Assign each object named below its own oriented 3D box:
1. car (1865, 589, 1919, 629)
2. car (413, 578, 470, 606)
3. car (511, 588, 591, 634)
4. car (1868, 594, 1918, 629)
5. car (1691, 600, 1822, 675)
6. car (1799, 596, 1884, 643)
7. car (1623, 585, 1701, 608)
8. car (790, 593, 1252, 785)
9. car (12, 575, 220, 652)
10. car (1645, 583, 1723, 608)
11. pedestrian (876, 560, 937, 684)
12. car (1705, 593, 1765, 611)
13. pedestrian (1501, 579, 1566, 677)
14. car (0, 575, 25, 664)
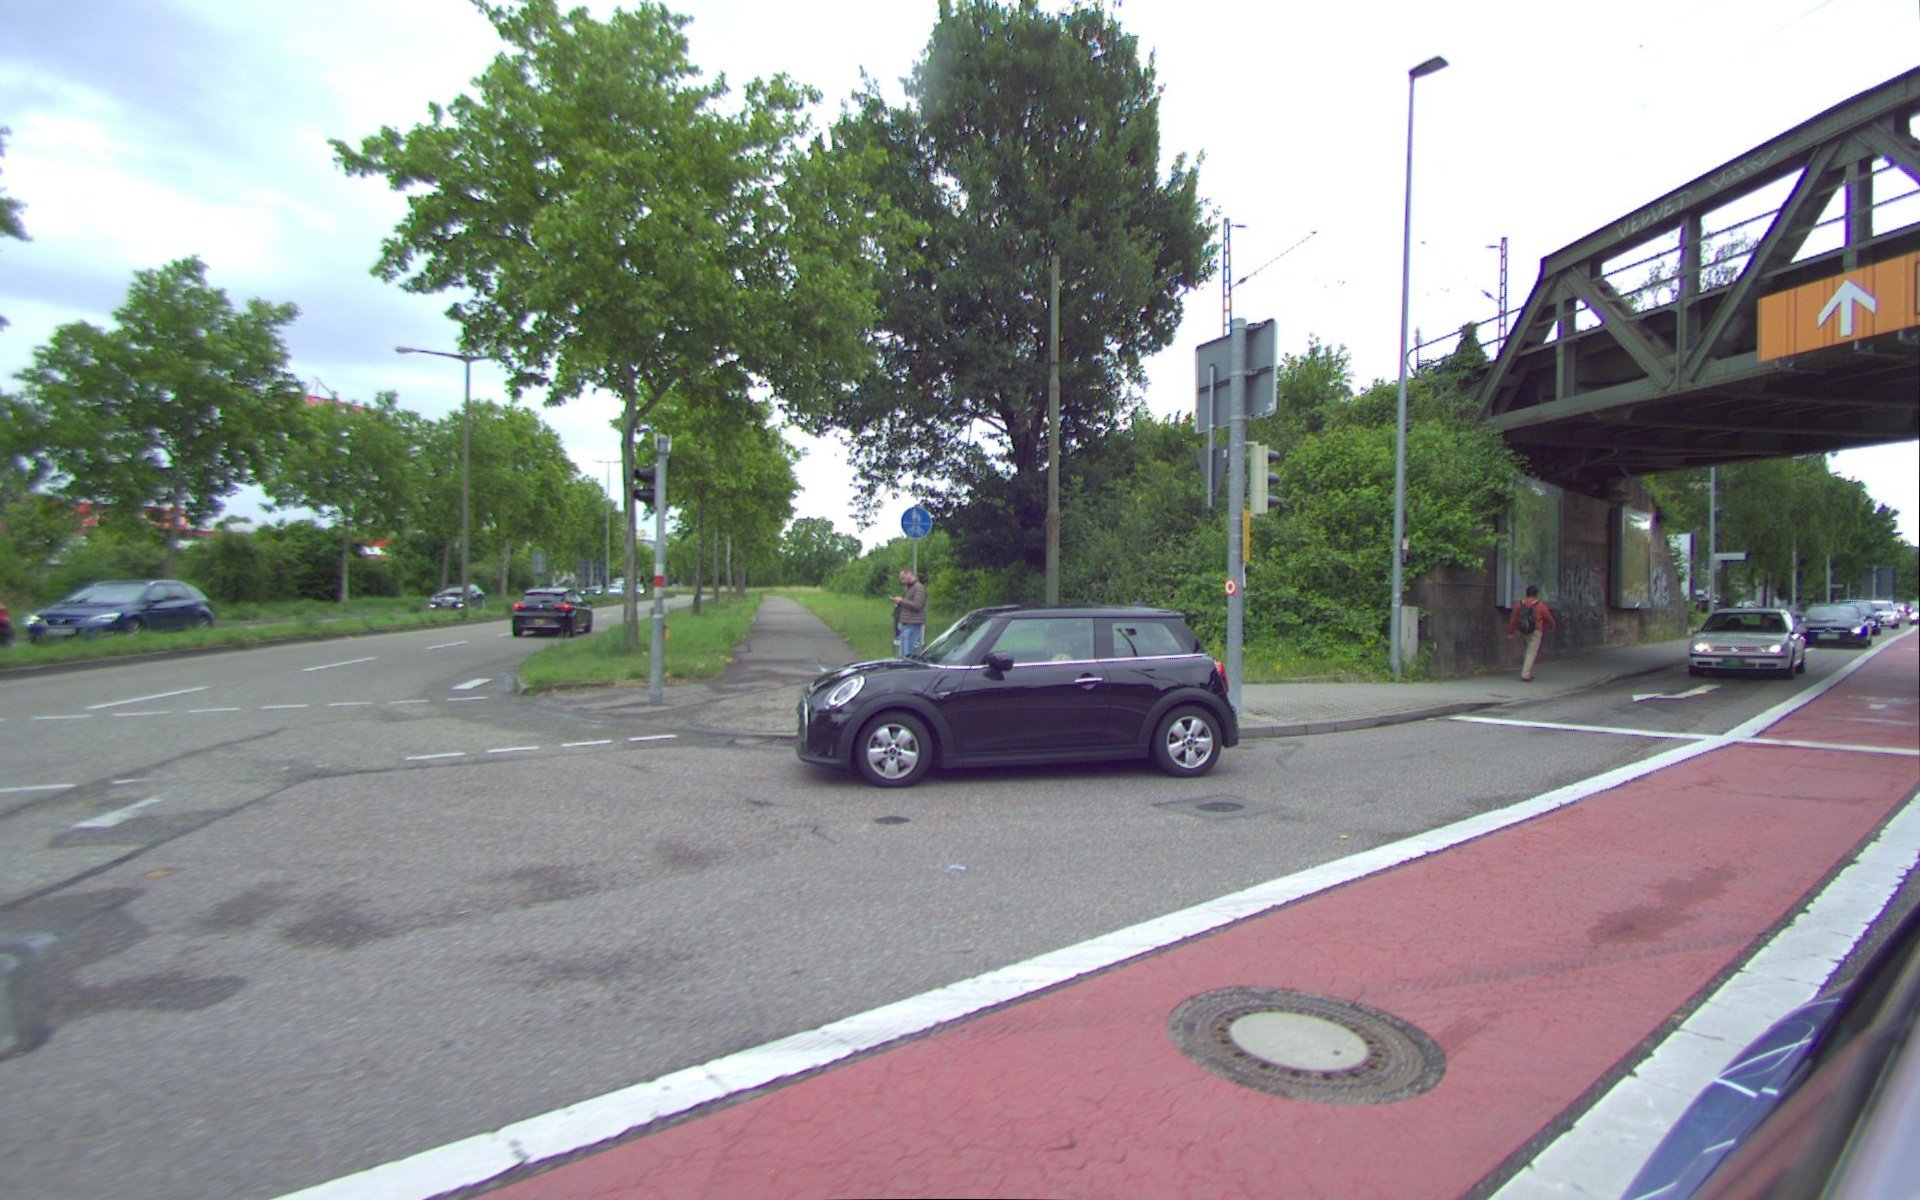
[{"bbox_3d":[40.397,0.368,43.676,1.780,1.668,3.943,1,1,39],"label":"car"},{"bbox_3d":[-28.402,-0.459,55.590,1.661,1.501,4.073,1,1,-10],"label":"car"},{"bbox_3d":[-12.115,0.318,30.166,1.618,1.297,3.425,0,-1,-12],"label":"car"},{"bbox_3d":[52.575,0.624,57.101,1.989,1.872,4.041,1,0,42],"label":"car"},{"bbox_3d":[16.968,0.733,21.498,3.876,1.442,1.722,0,-1,-45],"label":"car"},{"bbox_3d":[28.759,0.604,32.985,1.832,1.442,3.935,-1,-1,45],"label":"car"},{"bbox_3d":[48.440,-0.227,69.892,4.292,1.508,1.714,0,-1,40],"label":"car"},{"bbox_3d":[0.420,0.676,8.800,3.695,1.450,1.687,0,-1,-11],"label":"car"},{"bbox_3d":[-18.089,0.238,21.952,1.661,1.501,4.073,1,1,-10],"label":"car"},{"bbox_3d":[53.181,-0.300,74.365,1.936,1.622,4.300,0,-2,-43],"label":"car"},{"bbox_3d":[-0.754,0.299,13.969,0.763,1.661,0.745,0,0,-8],"label":"pedestrian"},{"bbox_3d":[71.522,0.196,93.453,1.711,1.450,4.189,1,-3,-44],"label":"car"},{"bbox_3d":[10.773,0.501,19.025,0.774,1.782,0.872,0,0,-43],"label":"pedestrian"},{"bbox_3d":[-17.427,0.356,16.357,1.661,1.551,3.695,1,1,-10],"label":"car"}]
